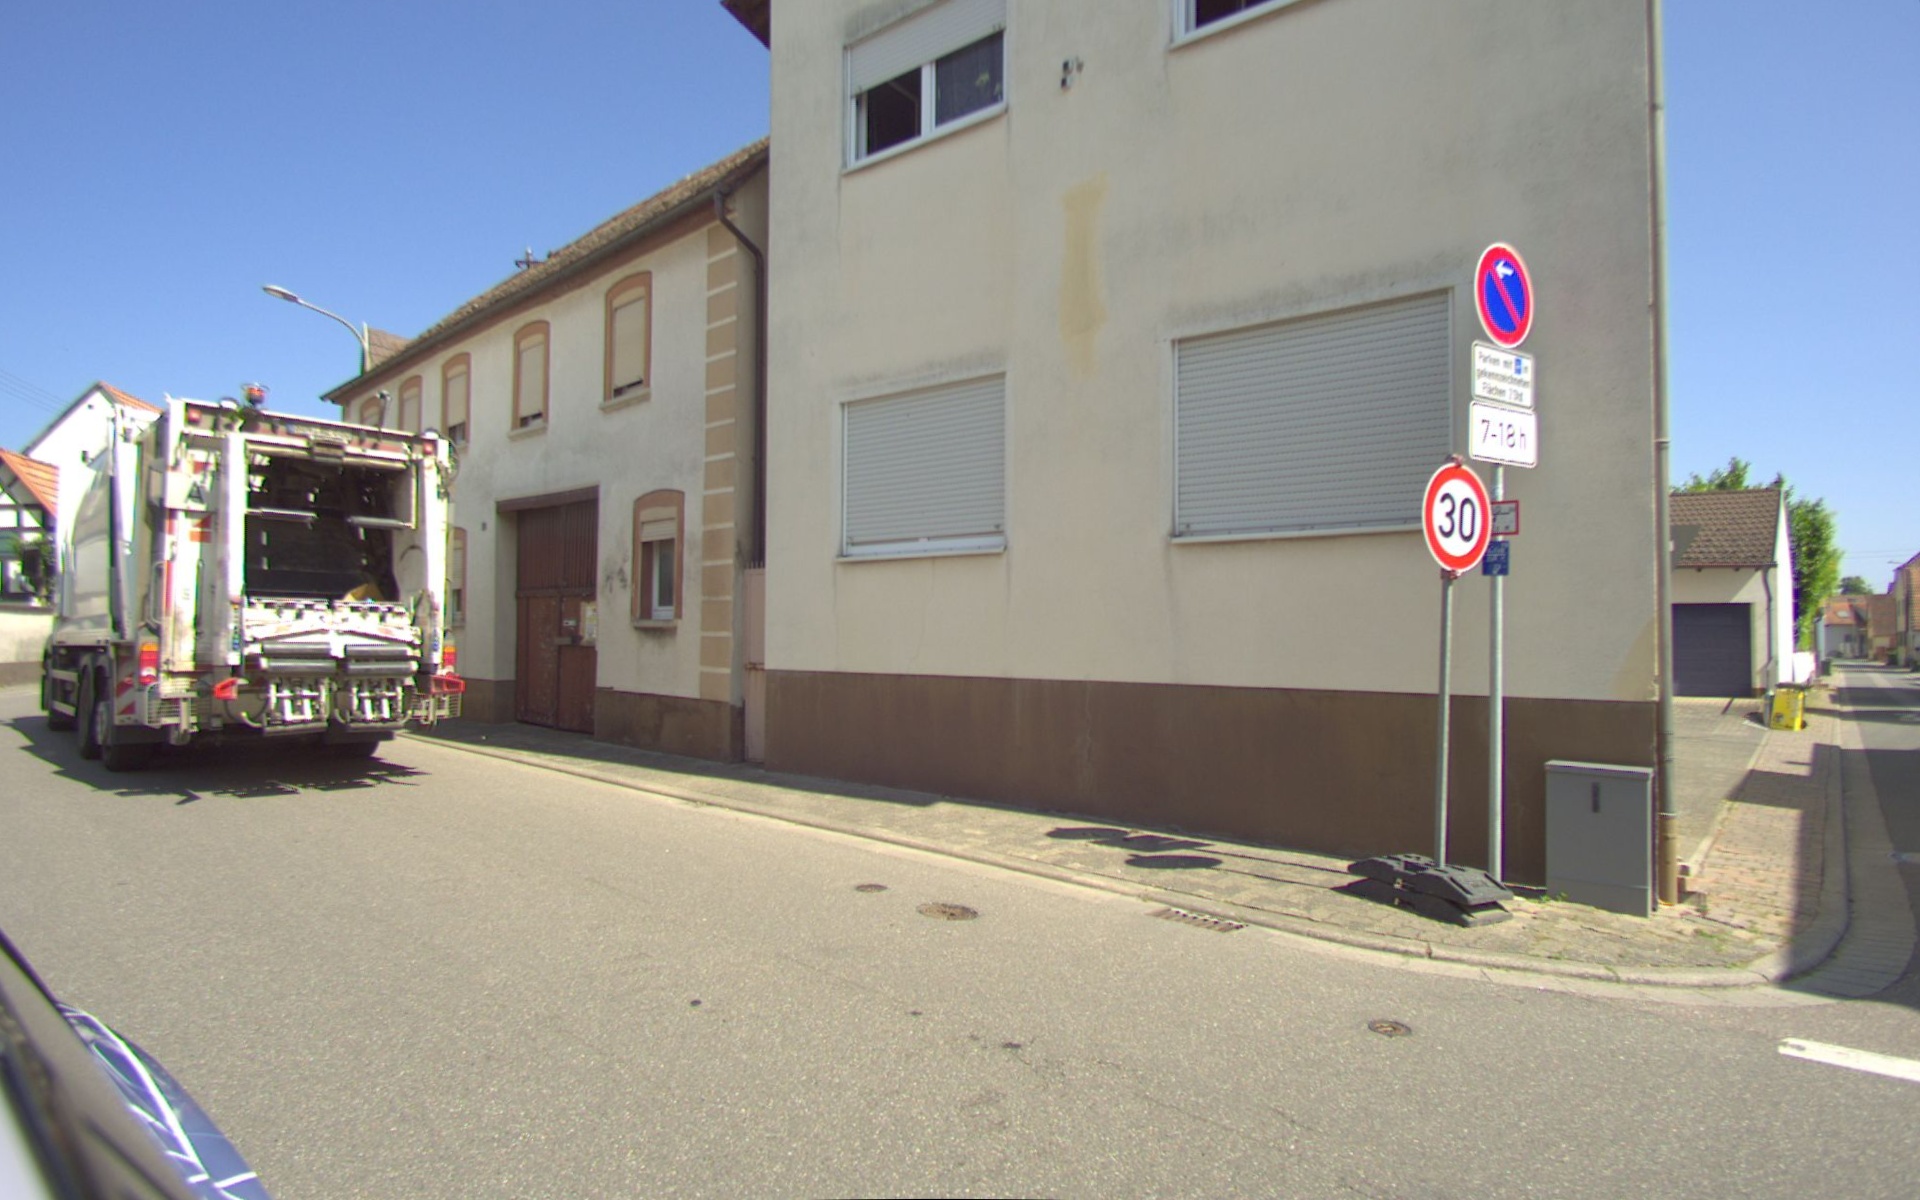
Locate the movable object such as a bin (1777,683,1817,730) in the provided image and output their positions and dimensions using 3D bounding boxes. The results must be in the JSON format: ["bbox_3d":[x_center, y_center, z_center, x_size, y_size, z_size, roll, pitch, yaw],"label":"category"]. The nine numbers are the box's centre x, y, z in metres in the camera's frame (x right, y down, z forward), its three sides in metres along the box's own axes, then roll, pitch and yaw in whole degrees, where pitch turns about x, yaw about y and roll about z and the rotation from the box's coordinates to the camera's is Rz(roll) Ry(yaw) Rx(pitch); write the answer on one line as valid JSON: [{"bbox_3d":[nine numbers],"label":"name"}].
[{"bbox_3d":[16.444,2.076,19.882,0.584,0.850,0.632,1,-1,42],"label":"movable object such as a bin"}]

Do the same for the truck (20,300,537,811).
[{"bbox_3d":[-8.862,-0.175,12.155,10.869,3.779,2.666,-2,-4,43],"label":"truck"}]
